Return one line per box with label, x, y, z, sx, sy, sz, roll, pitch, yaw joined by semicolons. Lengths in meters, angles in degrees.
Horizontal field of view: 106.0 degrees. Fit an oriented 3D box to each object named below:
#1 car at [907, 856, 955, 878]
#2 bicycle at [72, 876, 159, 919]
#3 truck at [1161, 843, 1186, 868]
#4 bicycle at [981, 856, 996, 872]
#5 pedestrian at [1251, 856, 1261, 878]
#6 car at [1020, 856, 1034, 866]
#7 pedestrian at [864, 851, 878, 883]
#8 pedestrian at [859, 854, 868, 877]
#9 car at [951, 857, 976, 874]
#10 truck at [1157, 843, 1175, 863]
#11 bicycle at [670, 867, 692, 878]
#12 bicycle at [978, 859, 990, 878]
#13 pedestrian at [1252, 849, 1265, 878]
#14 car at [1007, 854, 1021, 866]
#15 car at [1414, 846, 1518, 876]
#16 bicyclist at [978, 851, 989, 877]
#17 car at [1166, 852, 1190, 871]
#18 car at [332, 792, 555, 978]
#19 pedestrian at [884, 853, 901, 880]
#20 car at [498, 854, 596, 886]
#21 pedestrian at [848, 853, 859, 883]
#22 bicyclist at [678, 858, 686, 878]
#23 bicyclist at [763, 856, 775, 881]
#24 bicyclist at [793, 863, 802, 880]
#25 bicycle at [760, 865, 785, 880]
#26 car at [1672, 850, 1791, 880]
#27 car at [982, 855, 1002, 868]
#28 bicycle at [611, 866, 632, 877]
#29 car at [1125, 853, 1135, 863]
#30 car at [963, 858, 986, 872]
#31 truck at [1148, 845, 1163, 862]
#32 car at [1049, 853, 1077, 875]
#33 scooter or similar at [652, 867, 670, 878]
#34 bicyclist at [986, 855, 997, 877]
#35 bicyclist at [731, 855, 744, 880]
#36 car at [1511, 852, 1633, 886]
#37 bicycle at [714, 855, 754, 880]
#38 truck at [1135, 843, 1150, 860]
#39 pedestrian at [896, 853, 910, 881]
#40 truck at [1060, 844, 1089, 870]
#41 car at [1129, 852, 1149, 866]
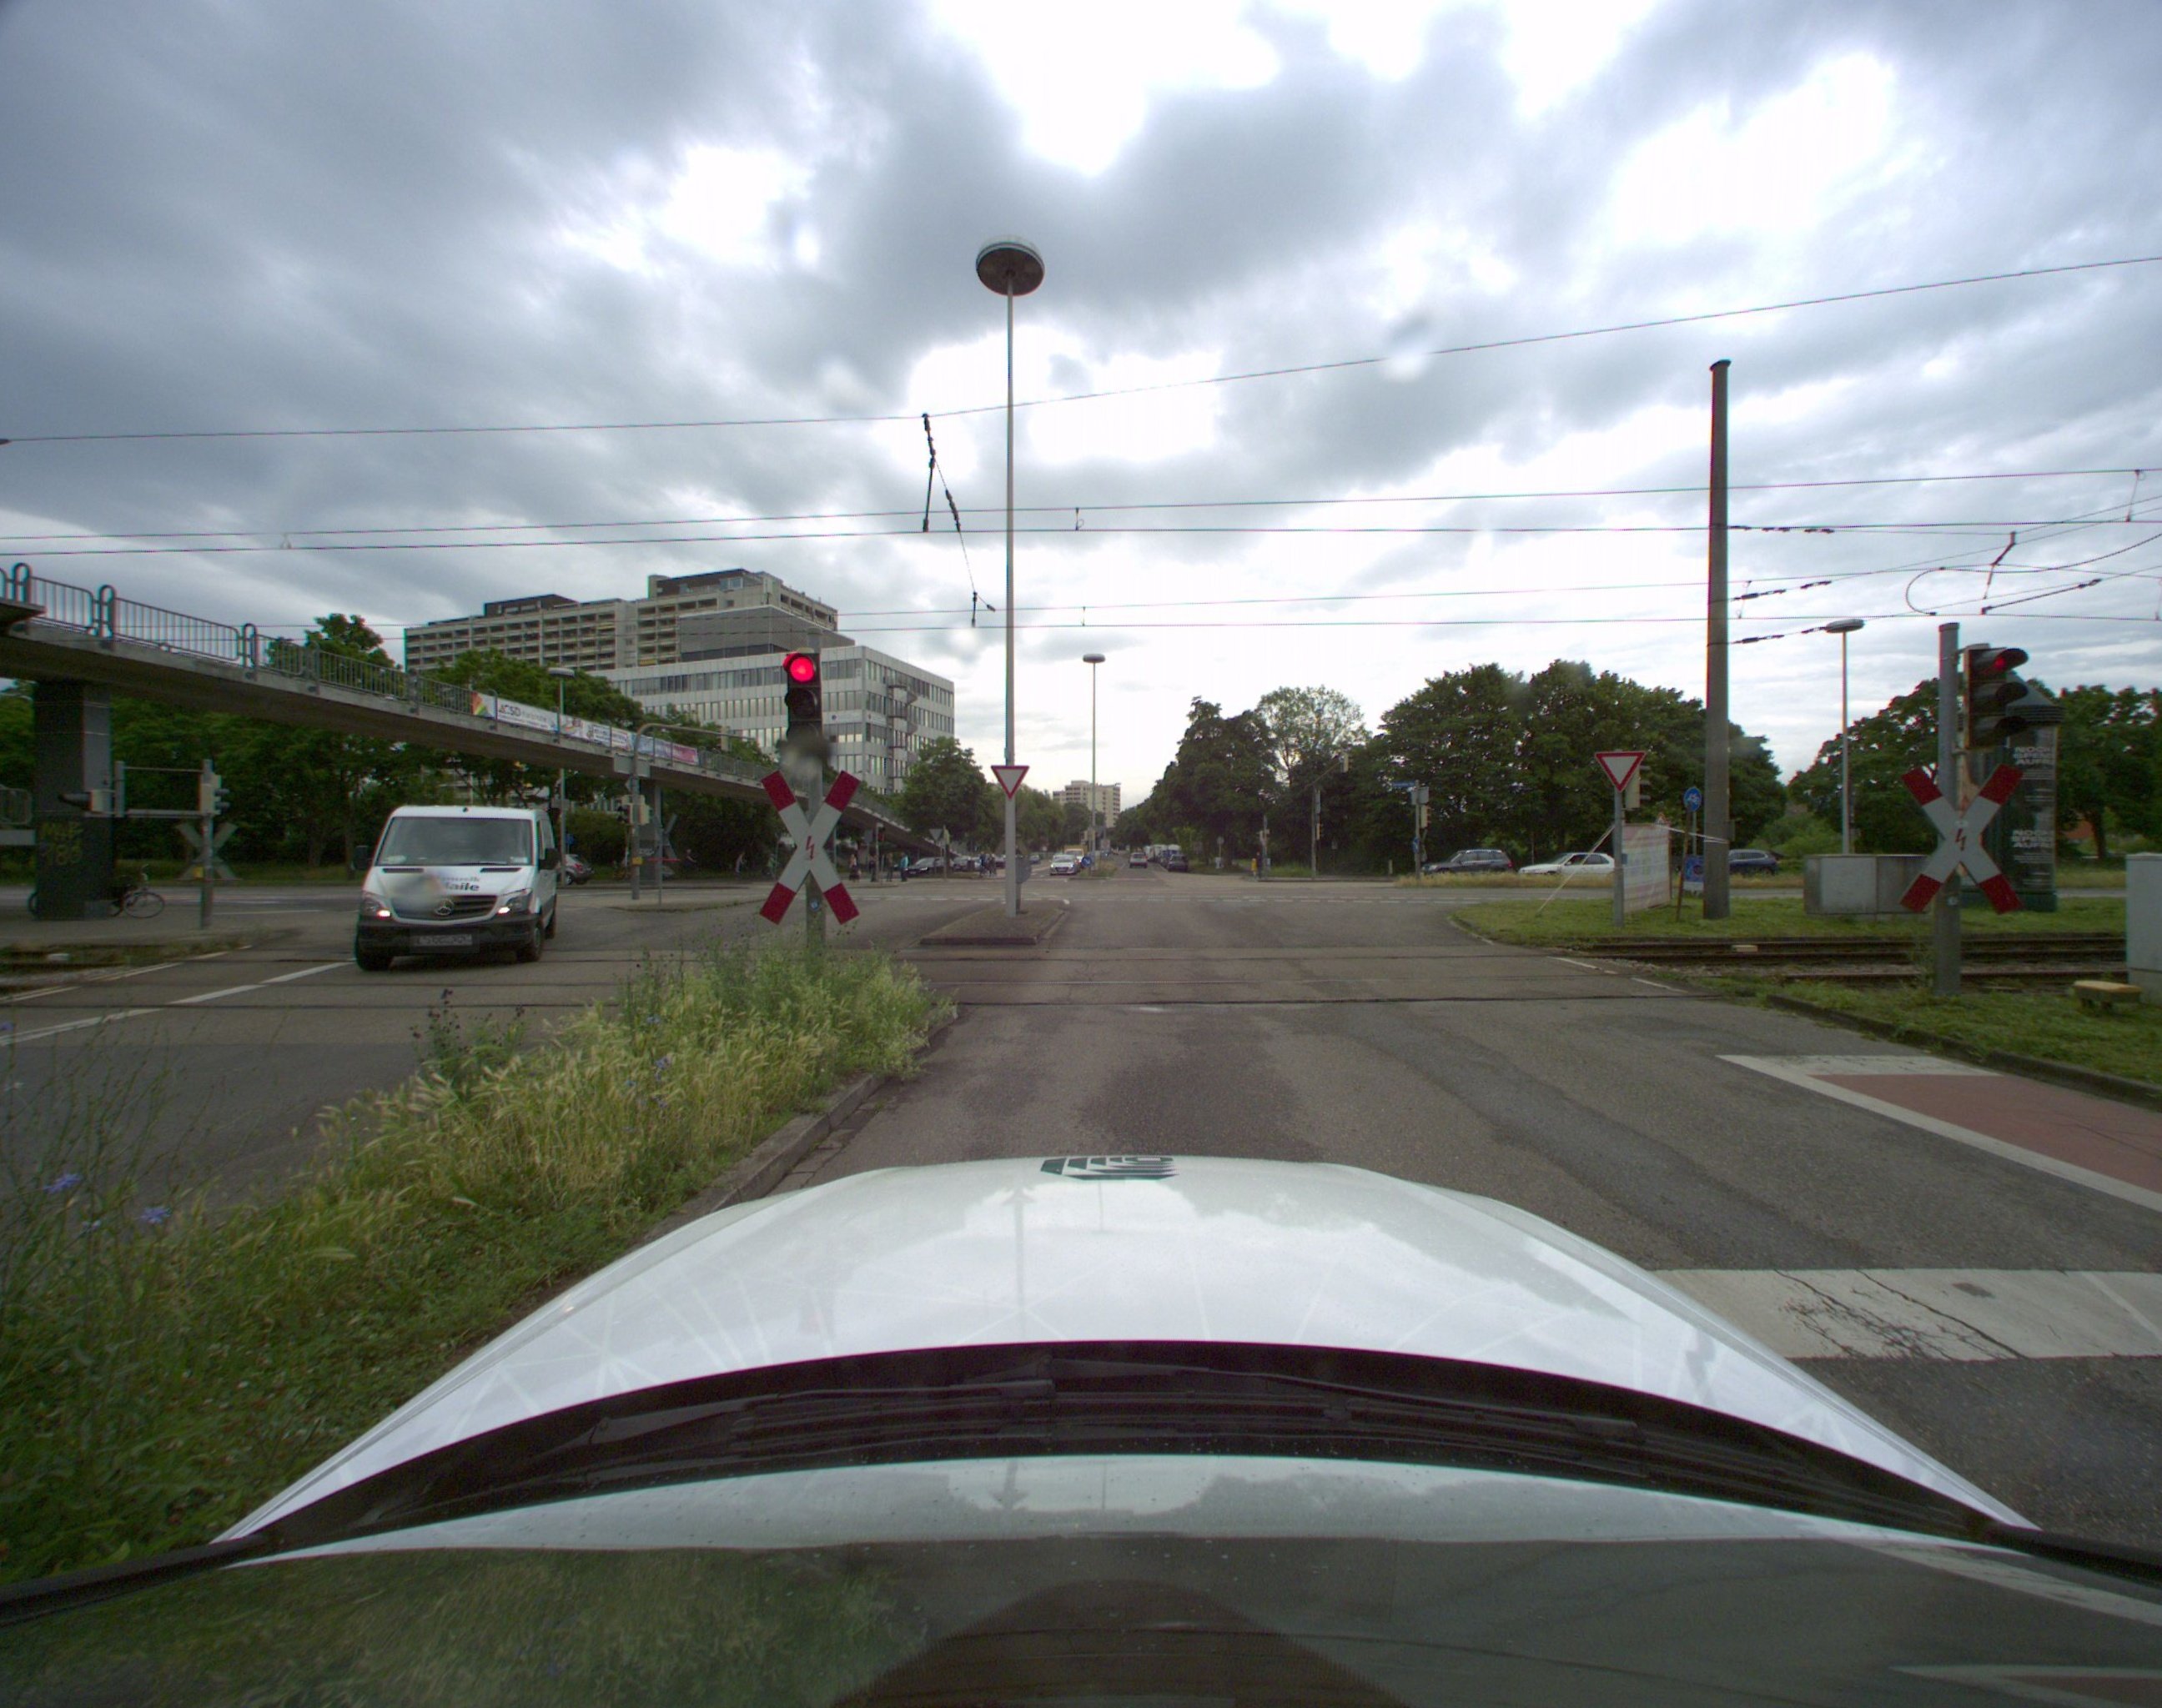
car;-10.750;0.909;58.694;1.658;1.552;4.018;0;0;17
bicycle;-21.759;0.969;18.357;2.017;0.921;0.375;0;0;13
truck;10.267;0.210;90.669;2.166;2.656;6.249;-1;-1;2
bicycle;-6.633;0.726;58.506;0.724;1.101;2.265;0;0;2
pedestrian;10.705;0.778;49.735;0.525;1.342;0.525;0;0;1
car;-8.335;1.026;125.923;1.665;1.552;4.003;0;0;3
pedestrian;-11.906;0.742;46.247;0.636;1.803;0.800;0;0;-7
pedestrian;-15.221;0.801;57.026;0.580;1.579;0.777;0;0;-16
car;-11.215;1.044;78.089;1.665;1.552;3.894;0;0;3
truck;12.491;-0.172;119.988;1.988;2.838;5.727;0;0;-2
bicycle;-26.170;1.195;53.311;1.303;0.692;0.287;0;0;-34
bicycle;-6.691;1.019;56.293;0.541;1.267;2.112;0;0;2
pedestrian;10.703;0.555;49.078;0.654;1.750;0.459;0;0;1
car;-8.795;0.798;107.308;1.439;1.552;3.666;0;0;2
car;19.548;0.353;41.513;4.447;1.504;1.847;0;0;2
bicyclist;-6.686;0.687;55.942;0.642;1.768;0.647;0;0;1
car;8.787;0.623;73.891;1.777;1.662;4.002;0;0;2
car;-9.651;0.373;12.819;2.149;2.292;5.155;-2;1;-32
pedestrian;-10.709;0.716;46.244;0.917;1.511;0.402;0;0;-10
car;-29.326;0.855;44.825;4.198;1.734;1.622;0;0;-13
pedestrian;-12.888;0.802;46.138;0.619;1.691;0.403;0;0;-12
bicyclist;-26.137;0.894;53.337;0.385;1.303;0.275;0;0;-35
bicyclist;-20.861;0.969;54.455;0.563;1.644;0.532;0;-1;2
bicyclist;-19.265;1.181;55.326;0.403;1.181;0.378;0;1;4
bicycle;-20.490;1.229;54.194;0.628;0.925;2.524;0;0;2
car;32.579;0.539;40.888;4.447;1.440;1.847;0;0;2
car;-10.168;0.830;93.444;1.757;1.395;4.002;0;0;2
bicycle;-29.752;1.125;52.744;1.145;0.668;0.265;0;0;-6
car;7.656;0.544;126.715;1.548;1.505;4.003;0;0;2
car;-10.870;1.104;83.580;1.665;1.387;3.898;0;0;3
truck;12.088;-0.064;132.078;1.987;2.573;5.377;0;-1;0
car;-1.235;0.706;58.124;1.782;1.519;4.327;0;0;2
scooter or similar;-27.102;1.206;52.590;1.001;0.715;0.402;0;0;-34
bicyclist;-6.476;0.852;58.797;0.676;1.594;0.695;0;-1;1
bicyclist;-22.880;0.875;54.205;0.749;1.625;0.524;0;-1;-18
car;20.413;0.626;33.969;4.120;1.357;1.648;0;0;2
bicycle;-23.046;0.875;54.119;2.365;1.625;0.524;0;-1;-18
truck;10.783;-0.443;142.913;1.988;3.009;5.768;0;-1;-1
pedestrian;-10.108;0.736;46.230;0.685;1.605;0.487;0;0;-3
truck;-0.494;0.250;72.114;2.146;2.199;5.845;0;0;3
car;6.310;0.569;88.867;2.013;1.505;4.002;0;0;2
